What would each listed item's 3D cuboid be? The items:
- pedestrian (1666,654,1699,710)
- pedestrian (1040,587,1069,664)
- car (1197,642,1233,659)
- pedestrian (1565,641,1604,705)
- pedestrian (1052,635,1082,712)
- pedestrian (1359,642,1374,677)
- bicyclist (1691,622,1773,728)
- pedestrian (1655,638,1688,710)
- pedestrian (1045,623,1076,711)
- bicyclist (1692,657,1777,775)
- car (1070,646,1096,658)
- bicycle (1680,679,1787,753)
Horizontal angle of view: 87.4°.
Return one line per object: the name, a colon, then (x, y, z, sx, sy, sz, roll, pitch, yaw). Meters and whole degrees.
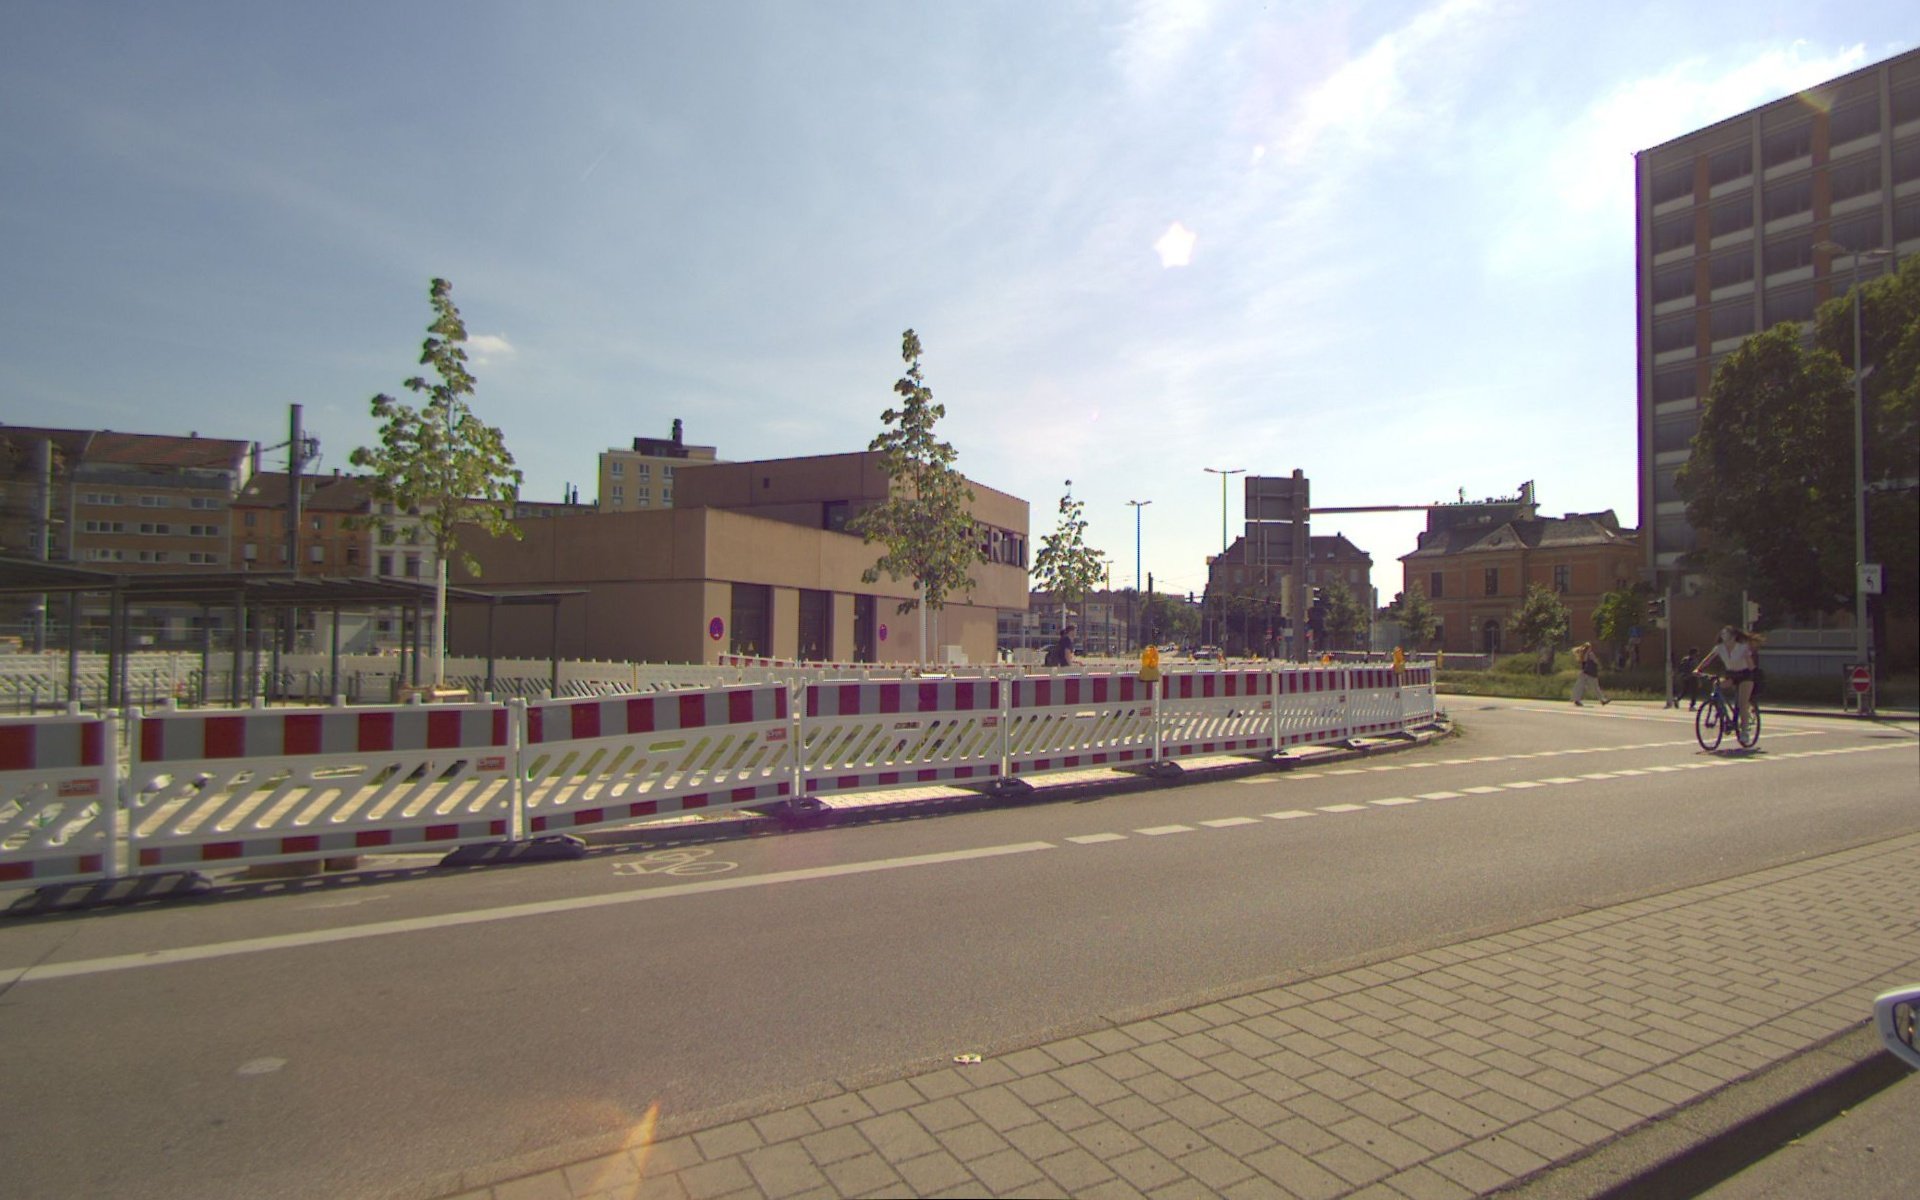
pedestrian: (19.880, 2.242, 27.635, 0.624, 1.511, 0.613, -2, -3, 44)
pedestrian: (2.237, 0.606, 23.824, 0.559, 1.801, 0.544, 1, -2, -9)
car: (30.663, 6.082, 120.883, 3.953, 2.040, 1.985, 2, -3, -30)
pedestrian: (17.849, 2.088, 28.691, 0.728, 1.775, 1.104, -2, -5, 44)
pedestrian: (2.444, 1.671, 22.991, 0.559, 1.731, 0.539, 1, -2, -9)
pedestrian: (24.052, 3.515, 59.396, 0.517, 2.040, 0.622, 2, -3, -34)
bicyclist: (11.079, 1.075, 14.411, 0.911, 1.462, 0.615, 2, -5, -35)
pedestrian: (20.759, 2.140, 29.310, 0.604, 2.040, 0.687, 2, -1, 23)
pedestrian: (2.230, 1.494, 22.396, 0.595, 1.940, 0.441, 1, -2, -9)
bicyclist: (11.087, 1.632, 14.374, 1.004, 1.602, 0.615, 2, -5, -35)
car: (17.950, 7.507, 146.202, 3.973, 1.739, 1.630, 3, -4, -44)
bicycle: (11.087, 1.632, 14.374, 1.948, 0.973, 0.615, 2, -5, -35)
